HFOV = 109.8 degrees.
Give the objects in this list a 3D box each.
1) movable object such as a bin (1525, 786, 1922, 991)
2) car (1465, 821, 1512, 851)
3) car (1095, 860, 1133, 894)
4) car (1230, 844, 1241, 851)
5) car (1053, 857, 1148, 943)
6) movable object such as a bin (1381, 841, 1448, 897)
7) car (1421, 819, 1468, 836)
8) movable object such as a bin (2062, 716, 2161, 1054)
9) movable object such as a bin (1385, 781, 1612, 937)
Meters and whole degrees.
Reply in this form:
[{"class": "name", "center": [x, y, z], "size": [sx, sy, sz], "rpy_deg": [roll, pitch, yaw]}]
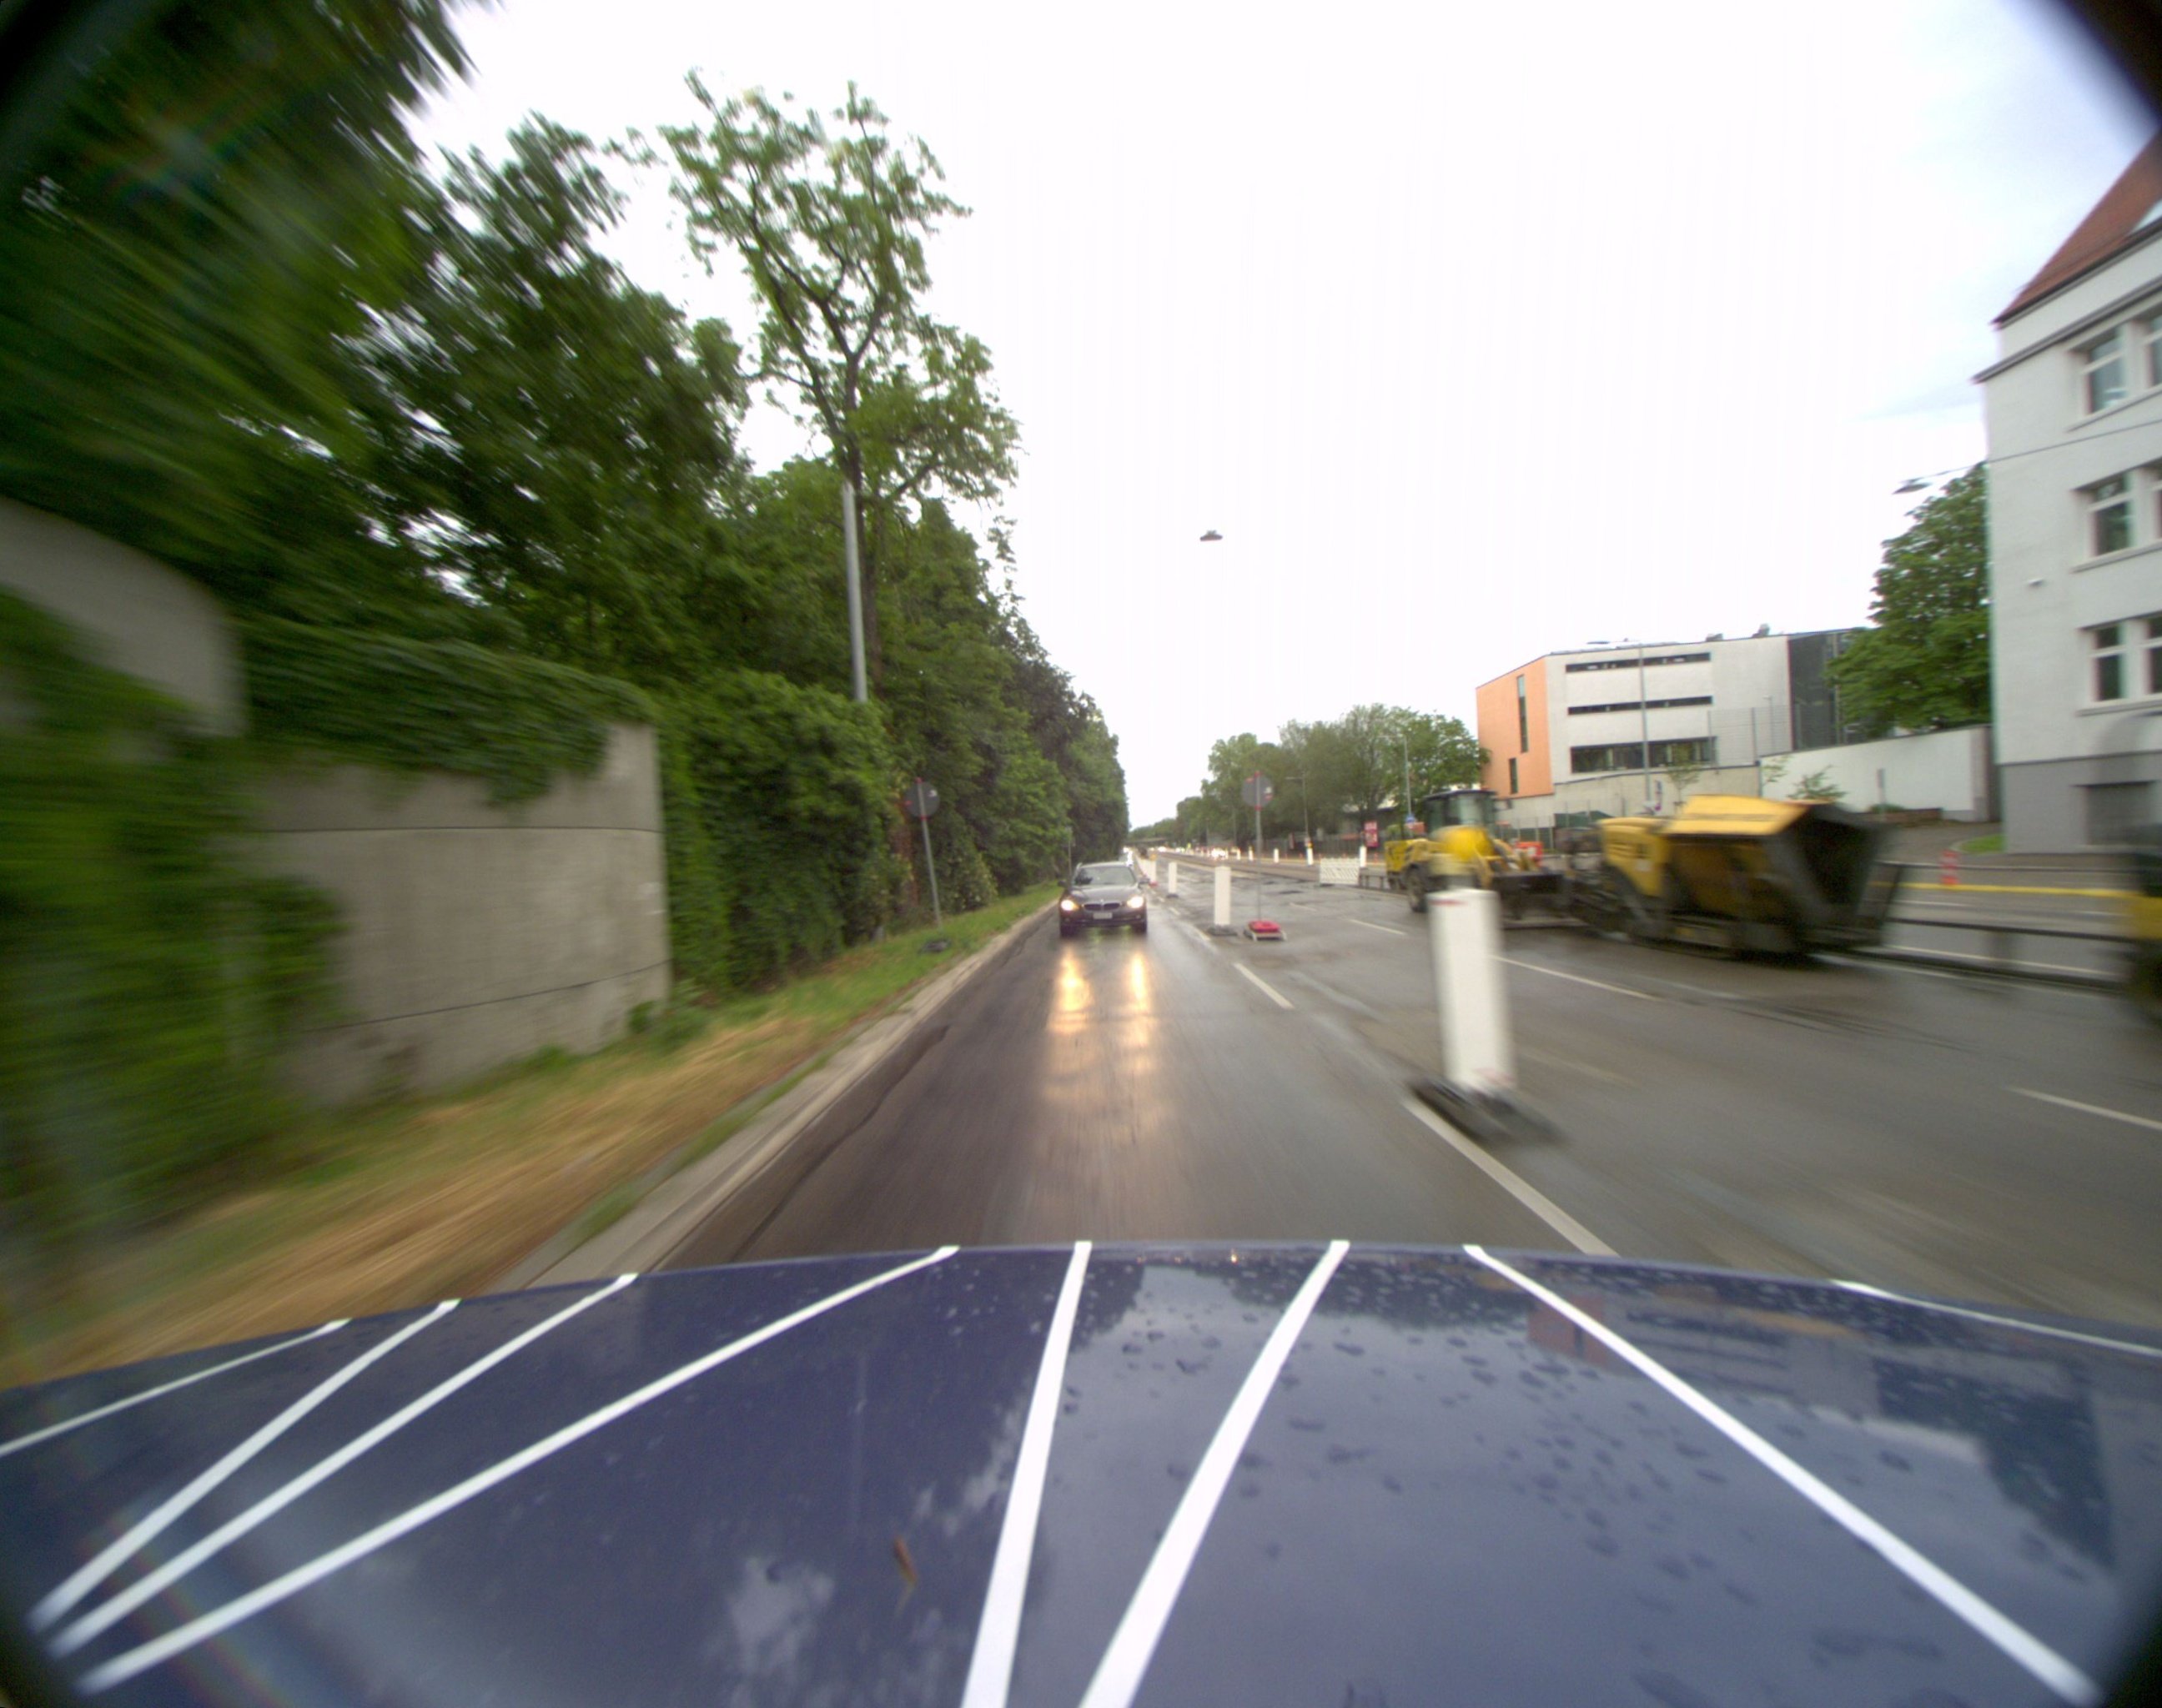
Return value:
[{"class": "movable object such as a bin", "center": [8.171, 0.358, 10.444], "size": [1.365, 2.078, 5.031], "rpy_deg": [-3, 0, 4]}, {"class": "car", "center": [32.256, -1.390, 60.224], "size": [1.614, 2.158, 4.001], "rpy_deg": [-4, 0, 3]}, {"class": "car", "center": [1.779, 1.127, 39.526], "size": [1.742, 1.454, 4.459], "rpy_deg": [-4, 1, 4]}, {"class": "car", "center": [30.146, -1.243, 148.383], "size": [1.557, 1.360, 3.805], "rpy_deg": [-2, 0, 3]}, {"class": "car", "center": [0.535, 0.902, 16.833], "size": [1.742, 1.454, 4.459], "rpy_deg": [-4, 1, 4]}, {"class": "movable object such as a bin", "center": [10.645, 0.457, 24.368], "size": [1.086, 1.635, 2.439], "rpy_deg": [-4, 0, 3]}, {"class": "car", "center": [38.335, -2.772, 80.148], "size": [4.013, 1.519, 2.004], "rpy_deg": [-4, 1, 42]}, {"class": "movable object such as a bin", "center": [8.303, 0.204, 4.671], "size": [1.414, 2.387, 2.405], "rpy_deg": [-2, 0, 1]}, {"class": "movable object such as a bin", "center": [8.262, 0.090, 15.776], "size": [1.906, 2.594, 5.384], "rpy_deg": [-3, 0, 4]}]
